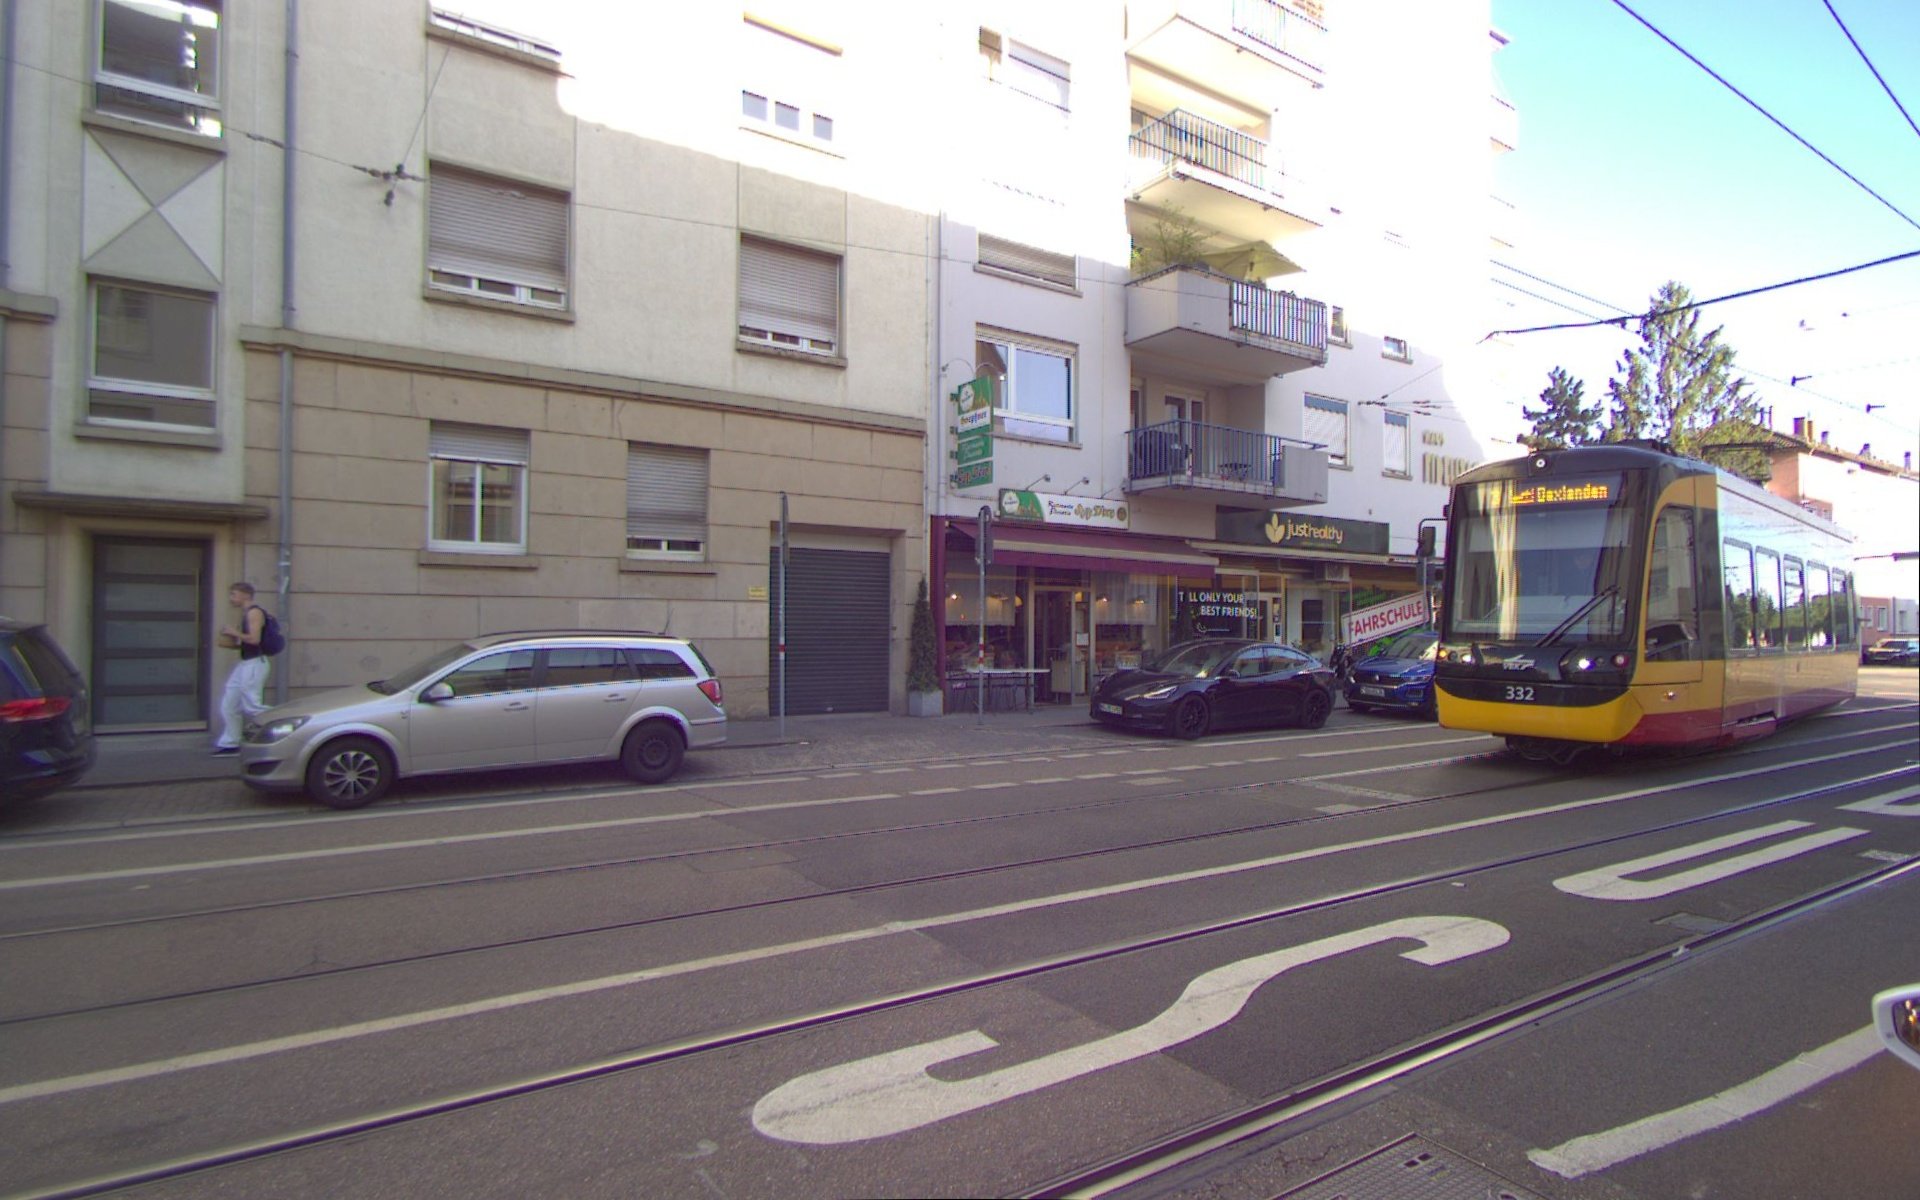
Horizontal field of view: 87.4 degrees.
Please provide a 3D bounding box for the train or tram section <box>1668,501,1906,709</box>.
[{"bbox_3d":[18.259,0.166,21.884,9.019,3.679,2.798,2,0,-43],"label":"train or tram section"}]

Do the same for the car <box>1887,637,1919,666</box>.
[{"bbox_3d":[54.178,2.910,56.515,4.250,1.518,1.806,2,0,-30],"label":"car"}]

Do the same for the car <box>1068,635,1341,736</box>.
[{"bbox_3d":[3.981,1.277,16.109,4.382,1.405,1.810,1,-2,-34],"label":"car"}]

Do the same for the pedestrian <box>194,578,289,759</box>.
[{"bbox_3d":[-7.687,0.712,10.776,0.725,1.857,0.595,2,0,-30],"label":"pedestrian"}]

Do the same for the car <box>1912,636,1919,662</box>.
[{"bbox_3d":[58.277,2.959,59.470,4.103,1.531,1.778,2,0,-31],"label":"car"}]

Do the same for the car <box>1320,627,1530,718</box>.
[{"bbox_3d":[8.900,1.309,19.154,4.030,1.552,1.858,1,-2,-34],"label":"car"}]

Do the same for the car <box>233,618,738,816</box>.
[{"bbox_3d":[-4.709,1.039,10.309,4.319,1.580,1.981,2,0,-34],"label":"car"}]

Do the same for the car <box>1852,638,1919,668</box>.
[{"bbox_3d":[49.592,2.828,53.637,3.949,1.440,1.784,2,0,-31],"label":"car"}]

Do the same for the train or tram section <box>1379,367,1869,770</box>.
[{"bbox_3d":[10.333,-0.086,14.483,12.540,3.641,3.034,2,-2,-43],"label":"train or tram section"}]

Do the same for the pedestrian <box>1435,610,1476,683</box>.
[{"bbox_3d":[14.078,1.307,28.552,0.688,2.040,0.764,2,0,-35],"label":"pedestrian"}]

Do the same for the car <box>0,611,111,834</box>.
[{"bbox_3d":[-9.037,0.873,7.228,4.249,1.606,1.893,2,0,-35],"label":"car"}]
